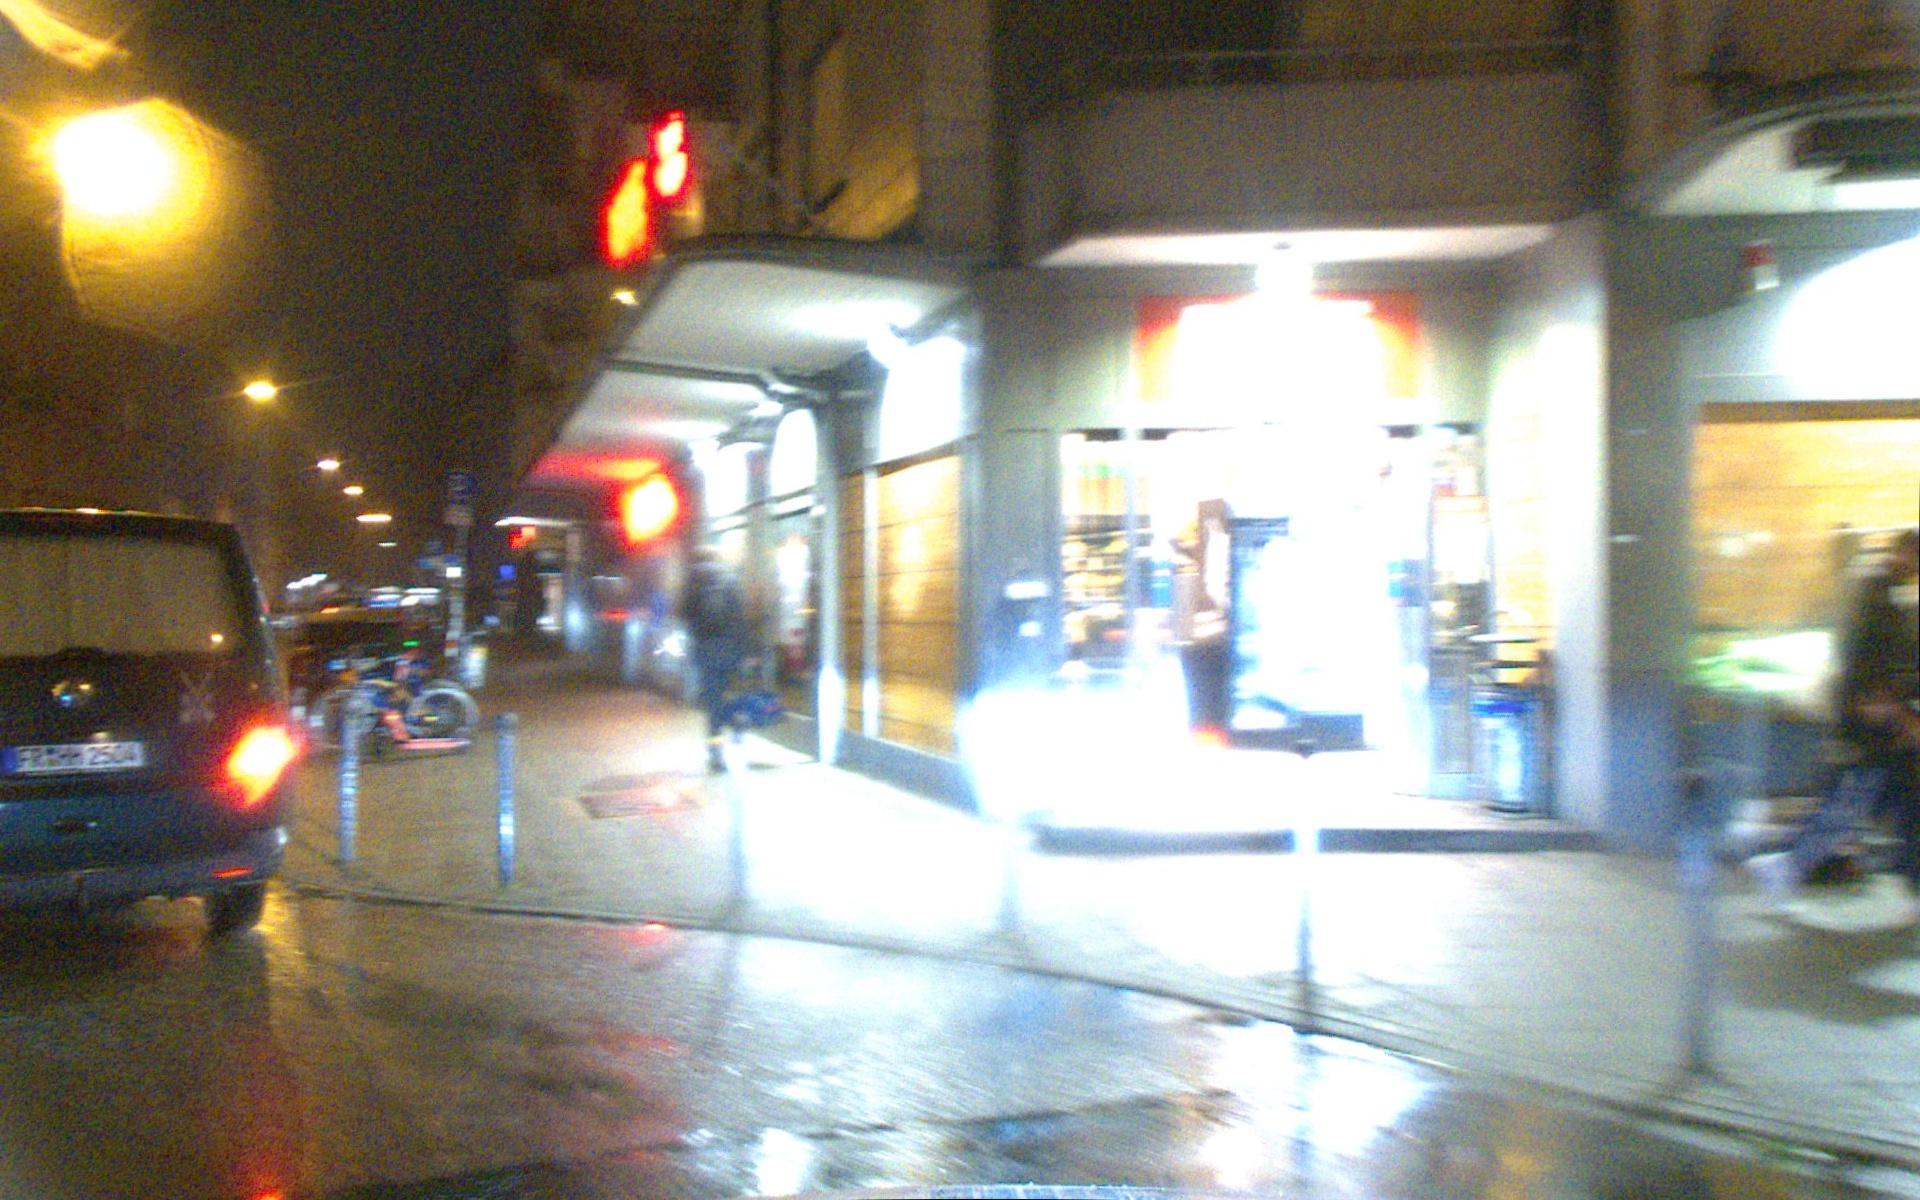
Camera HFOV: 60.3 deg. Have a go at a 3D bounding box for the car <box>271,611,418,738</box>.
[{"bbox_3d":[-8.519,0.989,23.083,1.726,1.593,4.131,1,-1,-19],"label":"car"}]

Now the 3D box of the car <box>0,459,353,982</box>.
[{"bbox_3d":[-4.821,0.473,8.426,2.106,2.026,4.542,1,0,-36],"label":"car"}]

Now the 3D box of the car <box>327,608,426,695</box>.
[{"bbox_3d":[-11.632,1.013,33.042,1.726,1.636,3.967,1,-1,-19],"label":"car"}]

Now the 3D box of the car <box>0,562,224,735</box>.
[{"bbox_3d":[-10.813,0.561,21.426,2.093,1.956,4.794,1,0,-22],"label":"car"}]

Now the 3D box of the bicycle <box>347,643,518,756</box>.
[{"bbox_3d":[-5.767,1.075,18.123,1.757,1.144,0.433,-1,0,-20],"label":"bicycle"}]

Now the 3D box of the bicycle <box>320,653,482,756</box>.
[{"bbox_3d":[-6.372,1.173,18.886,1.736,1.098,0.433,0,0,-20],"label":"bicycle"}]

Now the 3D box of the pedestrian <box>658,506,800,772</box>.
[{"bbox_3d":[-2.056,0.325,14.623,1.038,2.247,0.965,-1,0,-18],"label":"pedestrian"}]

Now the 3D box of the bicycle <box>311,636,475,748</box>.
[{"bbox_3d":[-6.666,1.068,19.489,1.736,1.144,0.433,-4,1,-20],"label":"bicycle"}]

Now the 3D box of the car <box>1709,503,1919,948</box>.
[{"bbox_3d":[3.988,0.524,7.408,0.940,1.873,0.878,0,0,9],"label":"car"}]

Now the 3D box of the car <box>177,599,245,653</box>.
[{"bbox_3d":[-30.052,1.047,66.460,1.963,2.049,3.979,2,-1,-18],"label":"car"}]

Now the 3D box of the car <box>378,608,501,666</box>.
[{"bbox_3d":[-19.247,1.372,61.211,3.953,2.049,1.976,0,-2,-35],"label":"car"}]
